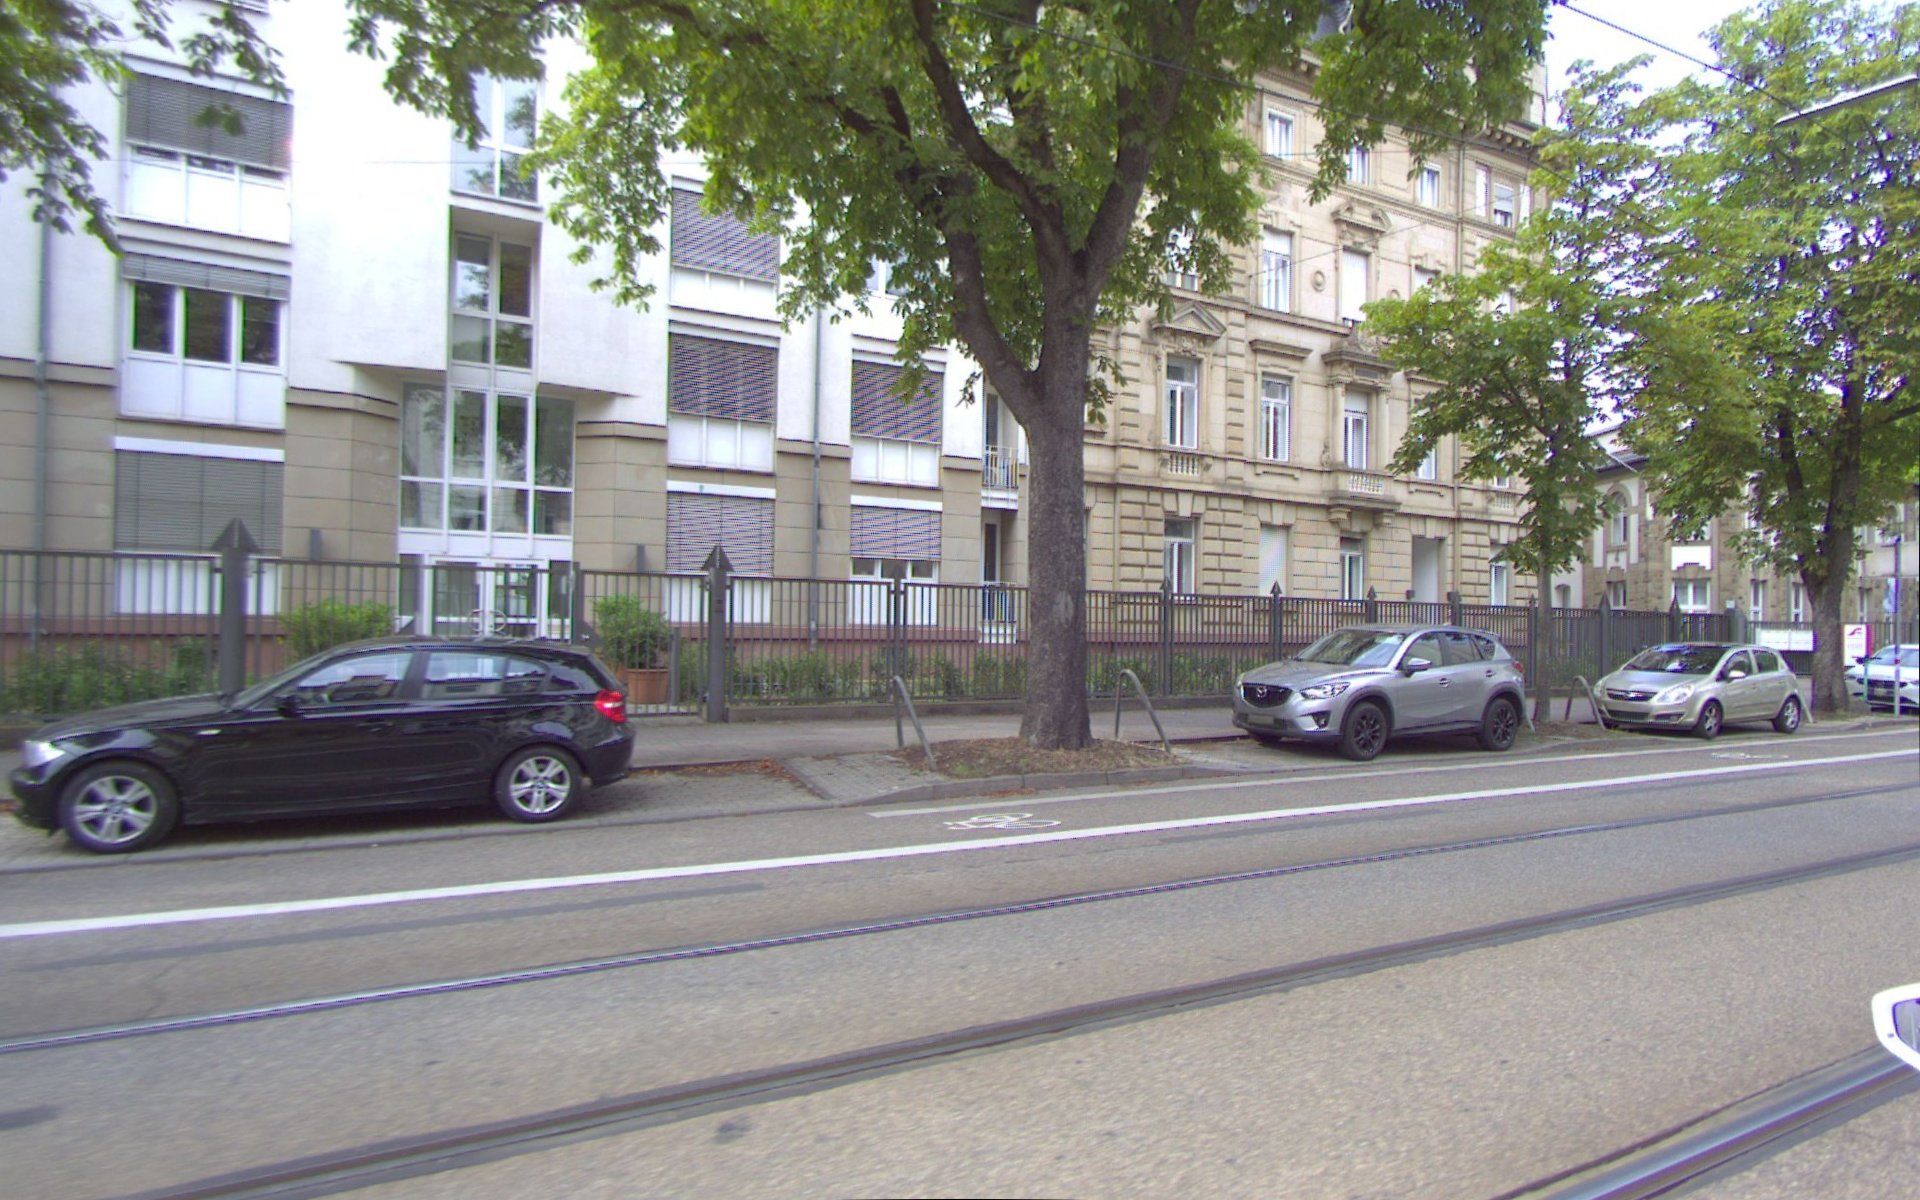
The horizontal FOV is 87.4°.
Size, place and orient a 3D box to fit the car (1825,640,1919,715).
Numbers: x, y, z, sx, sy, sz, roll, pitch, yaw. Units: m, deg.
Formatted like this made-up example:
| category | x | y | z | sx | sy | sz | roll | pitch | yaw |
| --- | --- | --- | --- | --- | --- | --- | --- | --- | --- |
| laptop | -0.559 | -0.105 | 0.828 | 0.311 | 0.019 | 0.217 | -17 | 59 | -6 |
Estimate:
| category | x | y | z | sx | sy | sz | roll | pitch | yaw |
| --- | --- | --- | --- | --- | --- | --- | --- | --- | --- |
| car | 21.121 | 1.670 | 22.212 | 3.974 | 1.443 | 1.714 | 1 | 1 | -29 |

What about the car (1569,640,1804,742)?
| category | x | y | z | sx | sy | sz | roll | pitch | yaw |
| --- | --- | --- | --- | --- | --- | --- | --- | --- | --- |
| car | 12.190 | 1.436 | 16.815 | 4.028 | 1.487 | 1.594 | 1 | -1 | -28 |

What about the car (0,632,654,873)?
| category | x | y | z | sx | sy | sz | roll | pitch | yaw |
| --- | --- | --- | --- | --- | --- | --- | --- | --- | --- |
| car | -4.709 | 1.042 | 8.037 | 4.110 | 1.444 | 1.714 | 1 | 1 | -26 |

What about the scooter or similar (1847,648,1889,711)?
| category | x | y | z | sx | sy | sz | roll | pitch | yaw |
| --- | --- | --- | --- | --- | --- | --- | --- | --- | --- |
| scooter or similar | 18.772 | 1.621 | 20.785 | 0.554 | 1.239 | 1.318 | 0 | -1 | 39 |

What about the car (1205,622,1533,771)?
| category | x | y | z | sx | sy | sz | roll | pitch | yaw |
| --- | --- | --- | --- | --- | --- | --- | --- | --- | --- |
| car | 5.502 | 1.180 | 13.394 | 4.302 | 1.696 | 1.703 | 1 | -1 | -28 |
